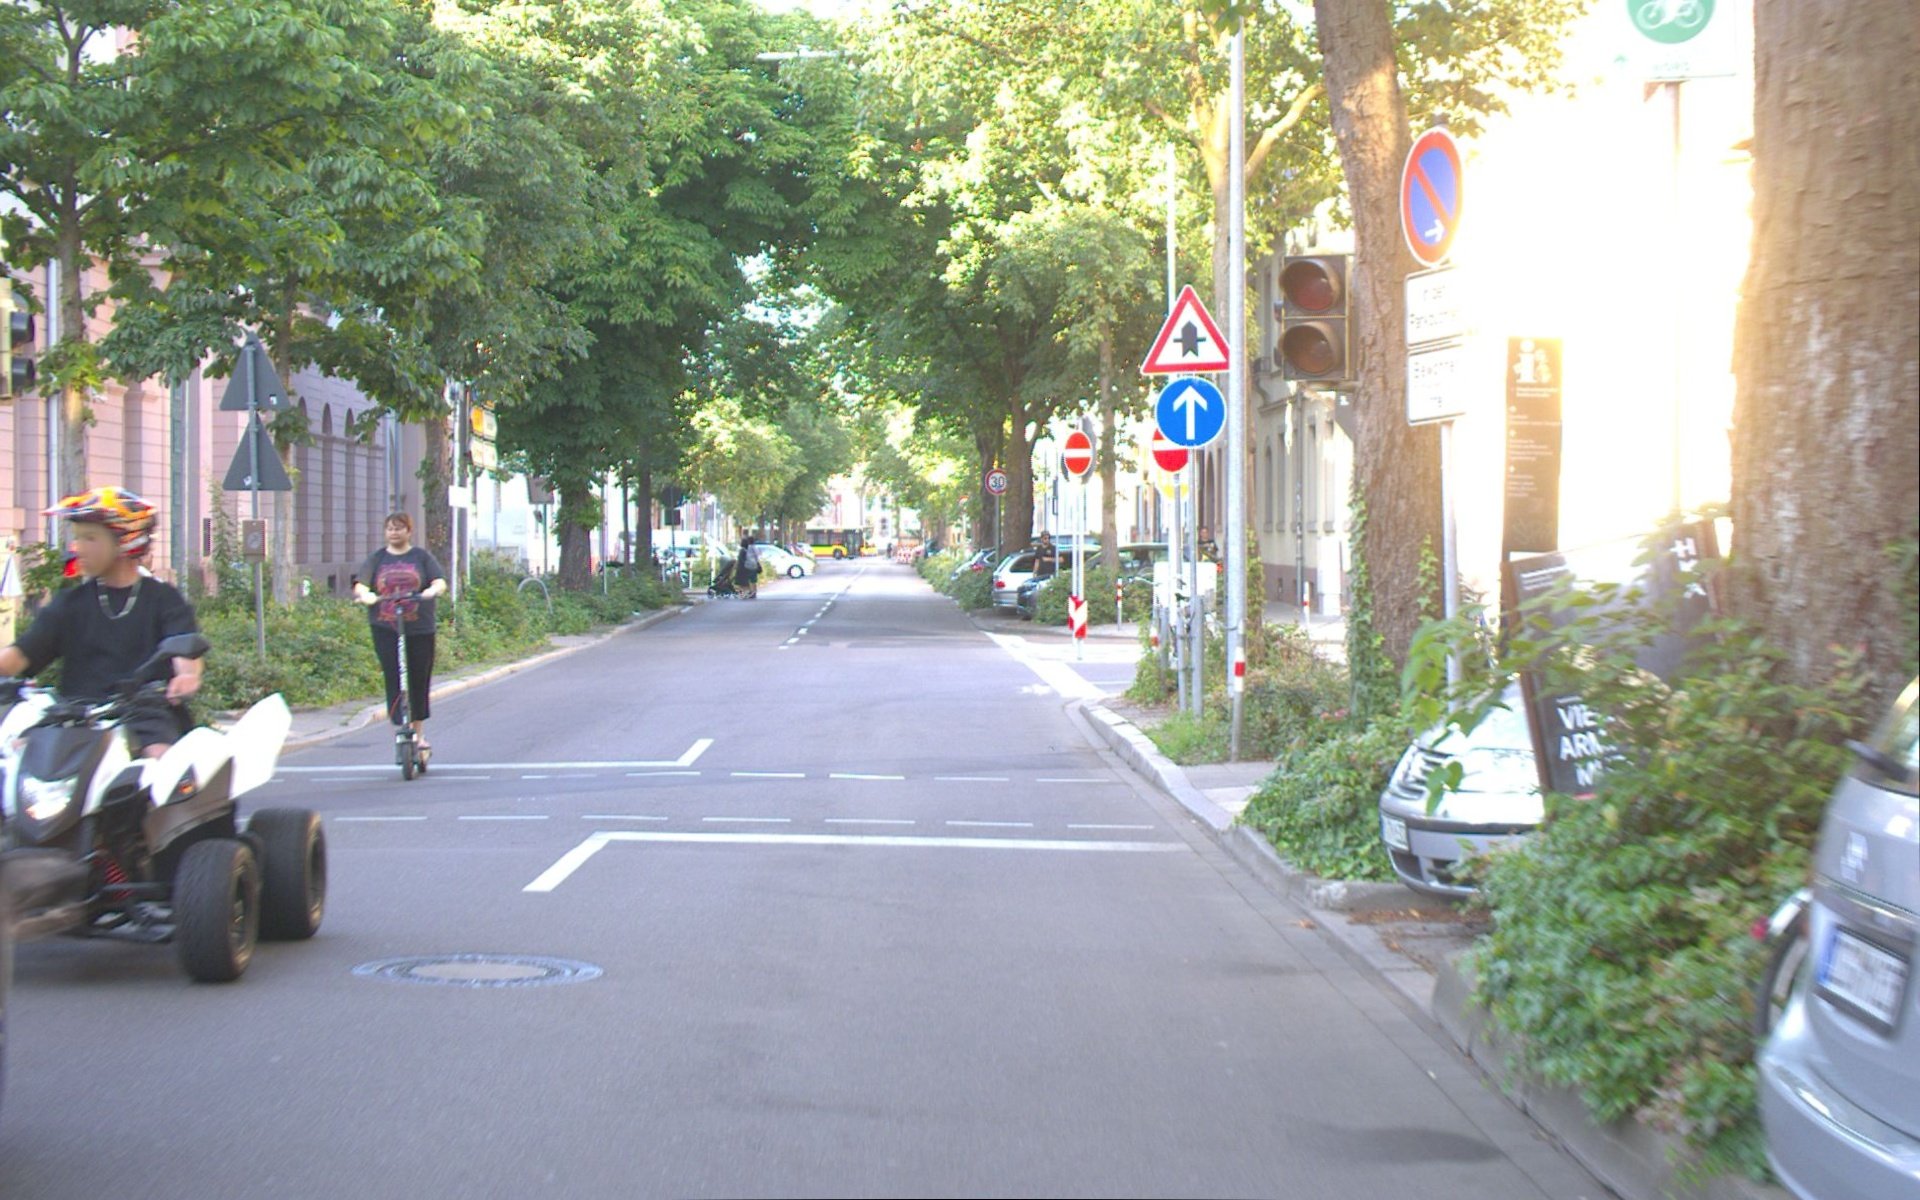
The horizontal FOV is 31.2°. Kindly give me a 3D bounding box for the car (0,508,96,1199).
[{"bbox_3d":[-3.086,0.607,6.242,1.877,1.543,4.275,-1,1,1],"label":"car"}]

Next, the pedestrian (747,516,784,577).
[{"bbox_3d":[-5.301,-1.452,93.774,0.875,1.644,0.655,1,1,7],"label":"pedestrian"}]

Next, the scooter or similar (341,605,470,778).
[{"bbox_3d":[-3.778,0.608,23.481,0.502,1.141,1.249,0,0,9],"label":"scooter or similar"}]

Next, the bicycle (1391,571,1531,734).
[{"bbox_3d":[3.726,0.368,25.710,0.523,1.148,2.249,0,1,-5],"label":"bicycle"}]

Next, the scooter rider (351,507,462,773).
[{"bbox_3d":[-3.774,0.264,23.469,0.494,1.785,0.874,0,0,10],"label":"scooter rider"}]

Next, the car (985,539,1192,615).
[{"bbox_3d":[2.653,-0.490,71.768,4.192,1.475,1.852,-1,1,-1],"label":"car"}]

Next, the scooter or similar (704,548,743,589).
[{"bbox_3d":[-6.456,-0.857,94.000,0.896,1.085,0.845,1,1,7],"label":"scooter or similar"}]

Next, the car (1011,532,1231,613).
[{"bbox_3d":[3.097,-0.543,66.763,4.107,1.485,1.850,0,2,-2],"label":"car"}]

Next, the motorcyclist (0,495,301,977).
[{"bbox_3d":[-3.005,0.438,11.830,1.280,1.586,1.077,0,1,-1],"label":"motorcyclist"}]

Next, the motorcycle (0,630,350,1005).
[{"bbox_3d":[-2.936,0.679,11.757,1.312,1.086,2.397,0,1,-1],"label":"motorcycle"}]

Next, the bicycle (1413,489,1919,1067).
[{"bbox_3d":[2.983,0.526,10.333,3.112,1.657,0.658,1,1,-5],"label":"bicycle"}]

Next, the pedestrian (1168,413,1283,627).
[{"bbox_3d":[2.715,-0.817,35.282,1.043,2.139,1.063,1,0,-1],"label":"pedestrian"}]

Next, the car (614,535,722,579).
[{"bbox_3d":[-10.189,-1.496,120.129,3.725,1.503,1.873,0,1,-4],"label":"car"}]

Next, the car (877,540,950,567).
[{"bbox_3d":[-2.597,-2.588,190.915,3.986,1.437,1.697,0,1,-3],"label":"car"}]

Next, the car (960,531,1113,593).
[{"bbox_3d":[2.053,-1.038,92.595,4.014,1.617,1.781,0,1,-2],"label":"car"}]

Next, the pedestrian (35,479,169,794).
[{"bbox_3d":[-5.229,0.208,20.991,0.768,1.882,0.793,0,1,-13],"label":"pedestrian"}]

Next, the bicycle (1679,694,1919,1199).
[{"bbox_3d":[2.277,0.812,7.402,1.337,1.200,0.488,-1,1,-1],"label":"bicycle"}]

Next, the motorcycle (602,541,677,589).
[{"bbox_3d":[-8.422,-0.915,90.353,1.919,1.254,0.591,0,1,-1],"label":"motorcycle"}]

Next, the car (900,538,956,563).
[{"bbox_3d":[-2.360,-3.736,258.076,3.988,1.831,2.000,0,1,6],"label":"car"}]

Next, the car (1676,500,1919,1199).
[{"bbox_3d":[3.461,0.600,5.579,4.225,1.555,1.971,0,2,2],"label":"car"}]

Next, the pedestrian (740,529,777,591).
[{"bbox_3d":[-5.448,-1.086,93.019,0.875,1.644,0.655,1,1,7],"label":"pedestrian"}]

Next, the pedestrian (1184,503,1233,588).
[{"bbox_3d":[5.002,-1.098,69.242,0.943,1.700,0.782,0,2,1],"label":"pedestrian"}]

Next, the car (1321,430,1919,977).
[{"bbox_3d":[3.802,0.326,13.193,4.539,1.908,1.950,-1,1,-3],"label":"car"}]

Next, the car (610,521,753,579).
[{"bbox_3d":[-10.133,-1.828,125.520,5.064,2.076,2.263,0,1,-1],"label":"car"}]

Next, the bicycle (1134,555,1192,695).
[{"bbox_3d":[2.028,0.238,34.341,0.417,1.367,1.288,0,1,10],"label":"bicycle"}]

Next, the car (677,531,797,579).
[{"bbox_3d":[-9.770,-1.995,150.991,5.064,2.076,2.263,0,1,1],"label":"car"}]
